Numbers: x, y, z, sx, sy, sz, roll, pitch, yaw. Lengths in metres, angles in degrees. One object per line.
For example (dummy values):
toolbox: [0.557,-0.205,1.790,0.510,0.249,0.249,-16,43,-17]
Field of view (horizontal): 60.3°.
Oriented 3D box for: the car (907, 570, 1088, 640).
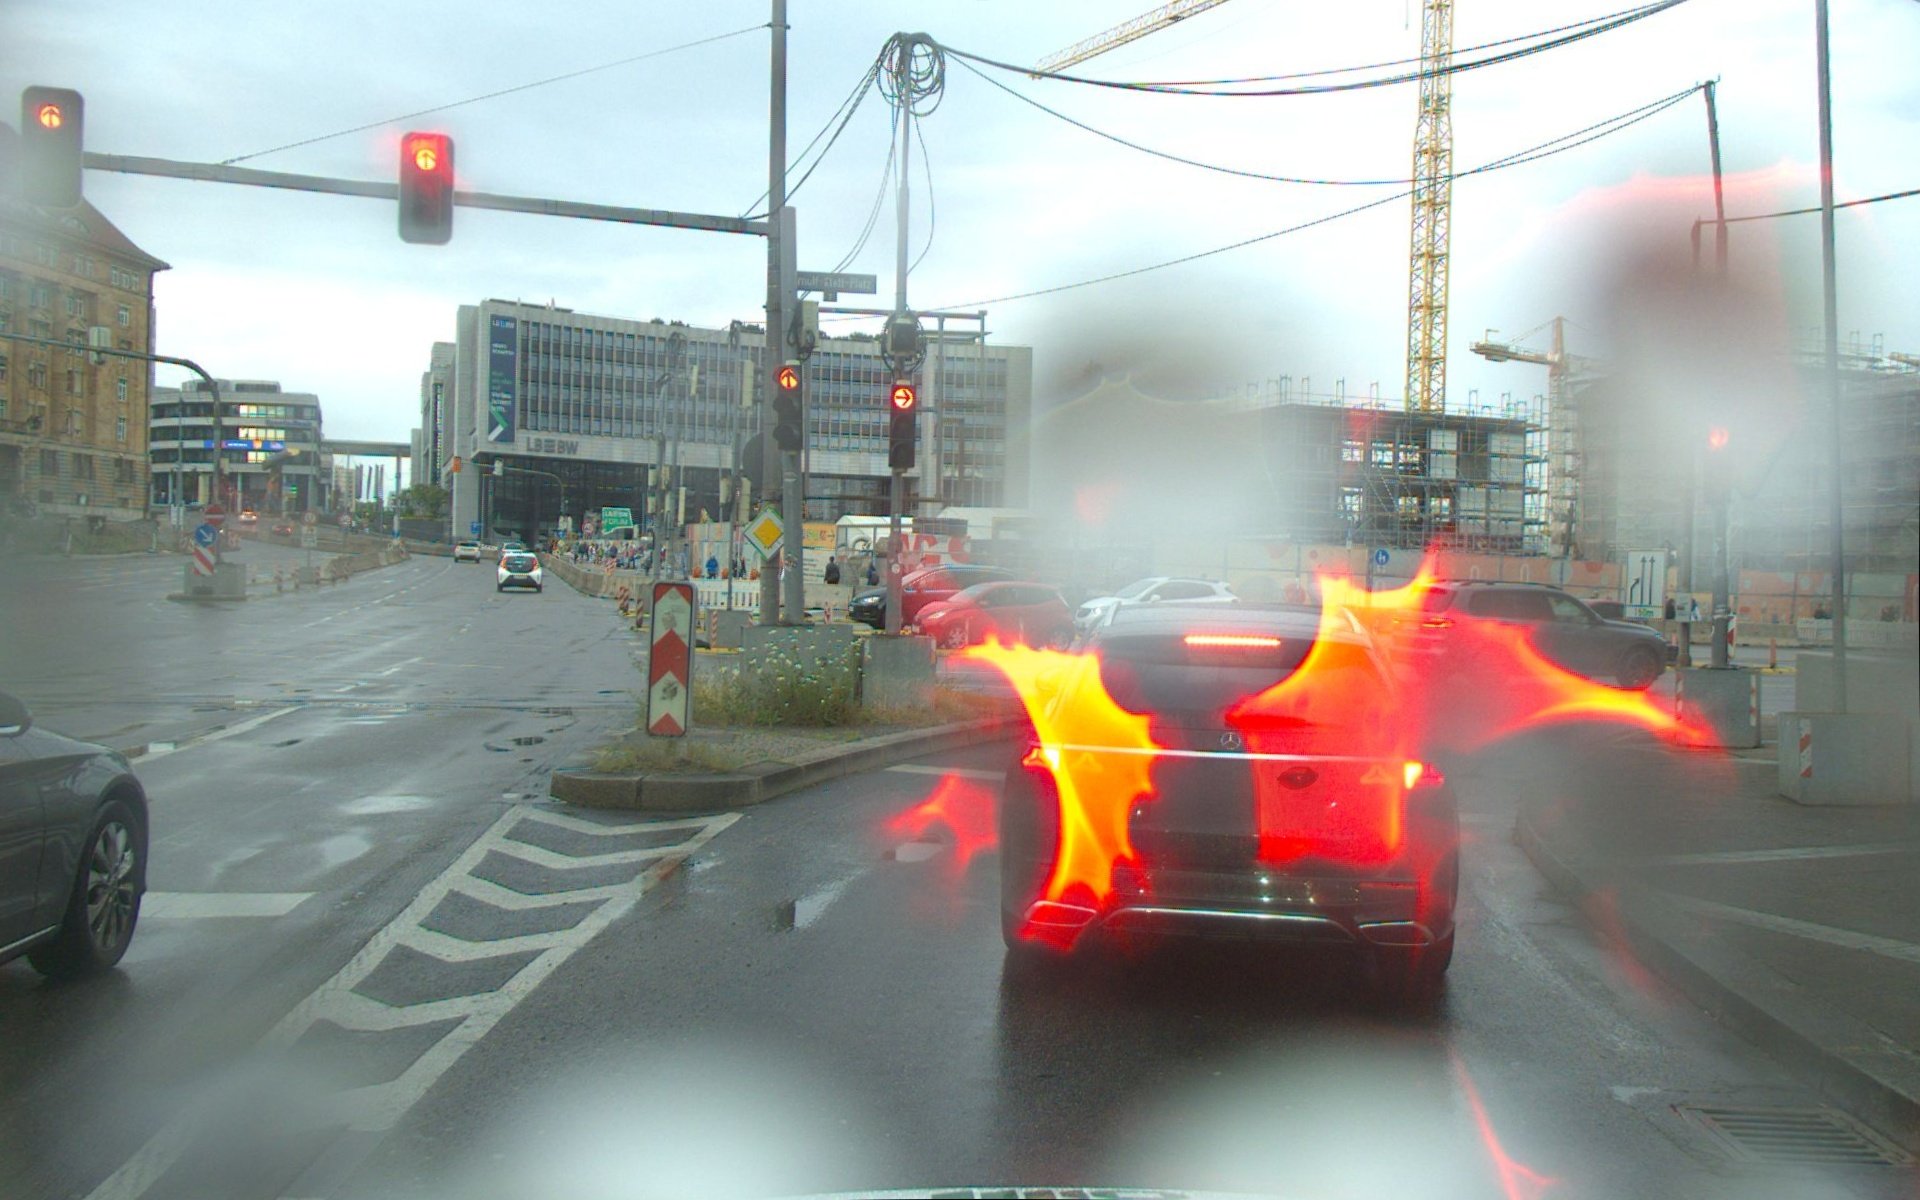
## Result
car: [0.789,0.114,35.120,3.481,1.327,1.656,2,-1,-20]

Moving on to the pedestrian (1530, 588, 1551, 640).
pedestrian: [21.861,0.541,62.294,0.564,1.931,0.361,2,-1,-12]

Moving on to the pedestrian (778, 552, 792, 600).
pedestrian: [-7.004,-0.954,66.174,0.356,1.931,0.572,2,-1,-22]

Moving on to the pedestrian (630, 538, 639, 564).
pedestrian: [-25.064,-3.774,127.394,0.511,1.931,0.573,2,-1,-18]

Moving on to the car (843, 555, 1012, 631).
car: [-0.851,-0.161,42.380,3.924,1.764,1.991,2,-1,-17]

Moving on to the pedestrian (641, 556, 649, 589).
pedestrian: [-19.146,-1.668,100.488,0.355,1.931,0.573,2,-1,-18]

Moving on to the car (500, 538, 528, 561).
car: [-36.637,-4.142,135.898,1.704,1.668,3.412,2,3,-23]

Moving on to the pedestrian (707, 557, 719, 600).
pedestrian: [-11.169,-0.976,74.690,0.356,1.931,0.572,2,-1,-22]

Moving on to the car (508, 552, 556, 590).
car: [-22.069,-1.487,85.175,1.964,1.797,4.392,2,-1,-20]

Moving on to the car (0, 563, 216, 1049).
car: [-3.700,0.624,4.472,1.749,1.427,4.480,2,1,-7]

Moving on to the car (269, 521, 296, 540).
car: [-79.972,-8.178,195.224,1.977,2.049,3.950,3,-1,-36]

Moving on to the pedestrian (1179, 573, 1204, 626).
pedestrian: [8.512,-0.014,60.824,0.645,1.934,0.629,2,-1,-15]

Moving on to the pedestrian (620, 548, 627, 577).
pedestrian: [-23.126,-2.571,113.596,0.355,1.931,0.574,2,-1,-14]

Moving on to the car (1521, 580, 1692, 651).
car: [17.390,0.427,44.543,3.925,1.738,1.990,2,-1,-19]

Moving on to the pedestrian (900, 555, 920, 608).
pedestrian: [-1.842,-0.680,60.399,0.564,1.931,0.361,1,-1,30]

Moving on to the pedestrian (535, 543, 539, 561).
pedestrian: [-46.309,-5.276,181.071,0.355,1.931,0.574,2,-1,-15]

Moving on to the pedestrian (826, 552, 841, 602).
pedestrian: [-4.929,-0.892,64.635,0.356,1.931,0.572,2,-1,-22]

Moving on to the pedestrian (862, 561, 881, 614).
pedestrian: [-3.248,-0.450,60.961,0.562,1.931,0.362,2,-1,13]

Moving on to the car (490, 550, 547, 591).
car: [-17.530,-1.132,65.602,1.755,1.499,3.536,2,-1,-21]

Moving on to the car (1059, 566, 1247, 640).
car: [4.611,0.083,39.623,3.981,1.579,1.988,2,-1,-20]

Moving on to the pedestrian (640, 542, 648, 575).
pedestrian: [-18.760,-2.442,98.260,0.355,1.931,0.573,2,-1,-18]

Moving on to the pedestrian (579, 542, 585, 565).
pedestrian: [-31.974,-3.908,139.985,0.355,1.931,0.573,2,-1,-18]

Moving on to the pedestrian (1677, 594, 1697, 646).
pedestrian: [27.338,0.744,62.187,0.564,1.931,0.361,2,-1,-12]

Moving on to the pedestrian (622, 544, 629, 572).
pedestrian: [-23.572,-2.979,116.625,0.355,1.931,0.573,2,-1,-18]

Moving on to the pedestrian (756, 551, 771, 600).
pedestrian: [-7.818,-0.990,65.827,0.357,1.931,0.571,3,-1,-28]

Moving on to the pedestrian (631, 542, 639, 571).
pedestrian: [-22.101,-2.937,112.411,0.355,1.931,0.573,2,-1,-18]

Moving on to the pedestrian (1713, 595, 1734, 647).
pedestrian: [28.486,0.782,61.676,0.564,1.931,0.361,2,-1,-12]

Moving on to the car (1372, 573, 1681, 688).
car: [10.145,0.550,29.697,5.002,1.829,1.992,2,-1,-15]

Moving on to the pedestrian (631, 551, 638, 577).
pedestrian: [-24.084,-2.681,122.416,0.355,1.931,0.573,2,-1,-18]

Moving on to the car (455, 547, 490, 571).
car: [-37.655,-3.127,127.643,1.968,1.668,3.968,3,-1,-25]

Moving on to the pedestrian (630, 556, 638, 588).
pedestrian: [-19.777,-1.683,100.247,0.355,1.931,0.573,2,-1,-18]

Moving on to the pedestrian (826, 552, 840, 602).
pedestrian: [-4.966,-0.894,64.641,0.356,1.931,0.572,2,-1,-22]

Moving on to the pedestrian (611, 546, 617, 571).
pedestrian: [-26.751,-3.200,127.870,0.355,1.931,0.573,2,-1,-18]

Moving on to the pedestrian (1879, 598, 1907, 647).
pedestrian: [37.309,0.905,66.141,0.784,1.931,0.564,2,-1,-16]

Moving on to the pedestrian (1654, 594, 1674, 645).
pedestrian: [27.113,0.753,63.687,0.564,1.931,0.361,2,-1,-12]

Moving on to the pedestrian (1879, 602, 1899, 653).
pedestrian: [36.031,1.064,64.160,0.564,1.931,0.361,2,-1,-12]

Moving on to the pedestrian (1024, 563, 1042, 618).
pedestrian: [2.630,-0.340,59.365,0.563,1.931,0.362,2,-1,1]

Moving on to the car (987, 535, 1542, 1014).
car: [1.198,0.623,7.712,1.851,1.571,3.995,2,-1,4]

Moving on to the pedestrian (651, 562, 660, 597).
pedestrian: [-17.005,-1.134,92.433,0.355,1.931,0.573,2,-1,-18]

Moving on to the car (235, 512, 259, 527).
car: [-96.504,-10.896,223.751,1.980,1.847,3.945,3,-1,-38]

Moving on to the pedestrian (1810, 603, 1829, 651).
pedestrian: [34.949,1.108,67.265,0.565,1.931,0.360,2,-1,-17]

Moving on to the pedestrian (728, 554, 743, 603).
pedestrian: [-8.984,-0.845,66.258,0.357,1.931,0.571,3,-1,-27]

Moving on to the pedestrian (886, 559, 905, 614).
pedestrian: [-2.312,-0.483,59.410,0.562,1.931,0.362,2,-1,14]

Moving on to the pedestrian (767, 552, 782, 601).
pedestrian: [-7.395,-0.951,66.021,0.357,1.931,0.571,2,-1,-28]

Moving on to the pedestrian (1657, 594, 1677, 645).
pedestrian: [26.983,0.742,63.116,0.564,1.931,0.361,2,-1,-12]

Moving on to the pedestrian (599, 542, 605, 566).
pedestrian: [-29.801,-3.819,137.782,0.355,1.931,0.573,2,-1,-18]

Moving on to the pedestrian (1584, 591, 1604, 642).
pedestrian: [24.192,0.641,63.137,0.564,1.931,0.361,2,-1,-12]

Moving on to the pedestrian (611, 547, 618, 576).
pedestrian: [-23.437,-2.600,112.190,0.355,1.931,0.573,2,-1,-18]

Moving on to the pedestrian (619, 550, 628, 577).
pedestrian: [-24.767,-2.682,121.774,0.511,1.931,0.573,2,-1,-18]

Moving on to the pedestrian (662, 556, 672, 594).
pedestrian: [-15.058,-1.295,84.897,0.355,1.931,0.573,2,-1,-18]
